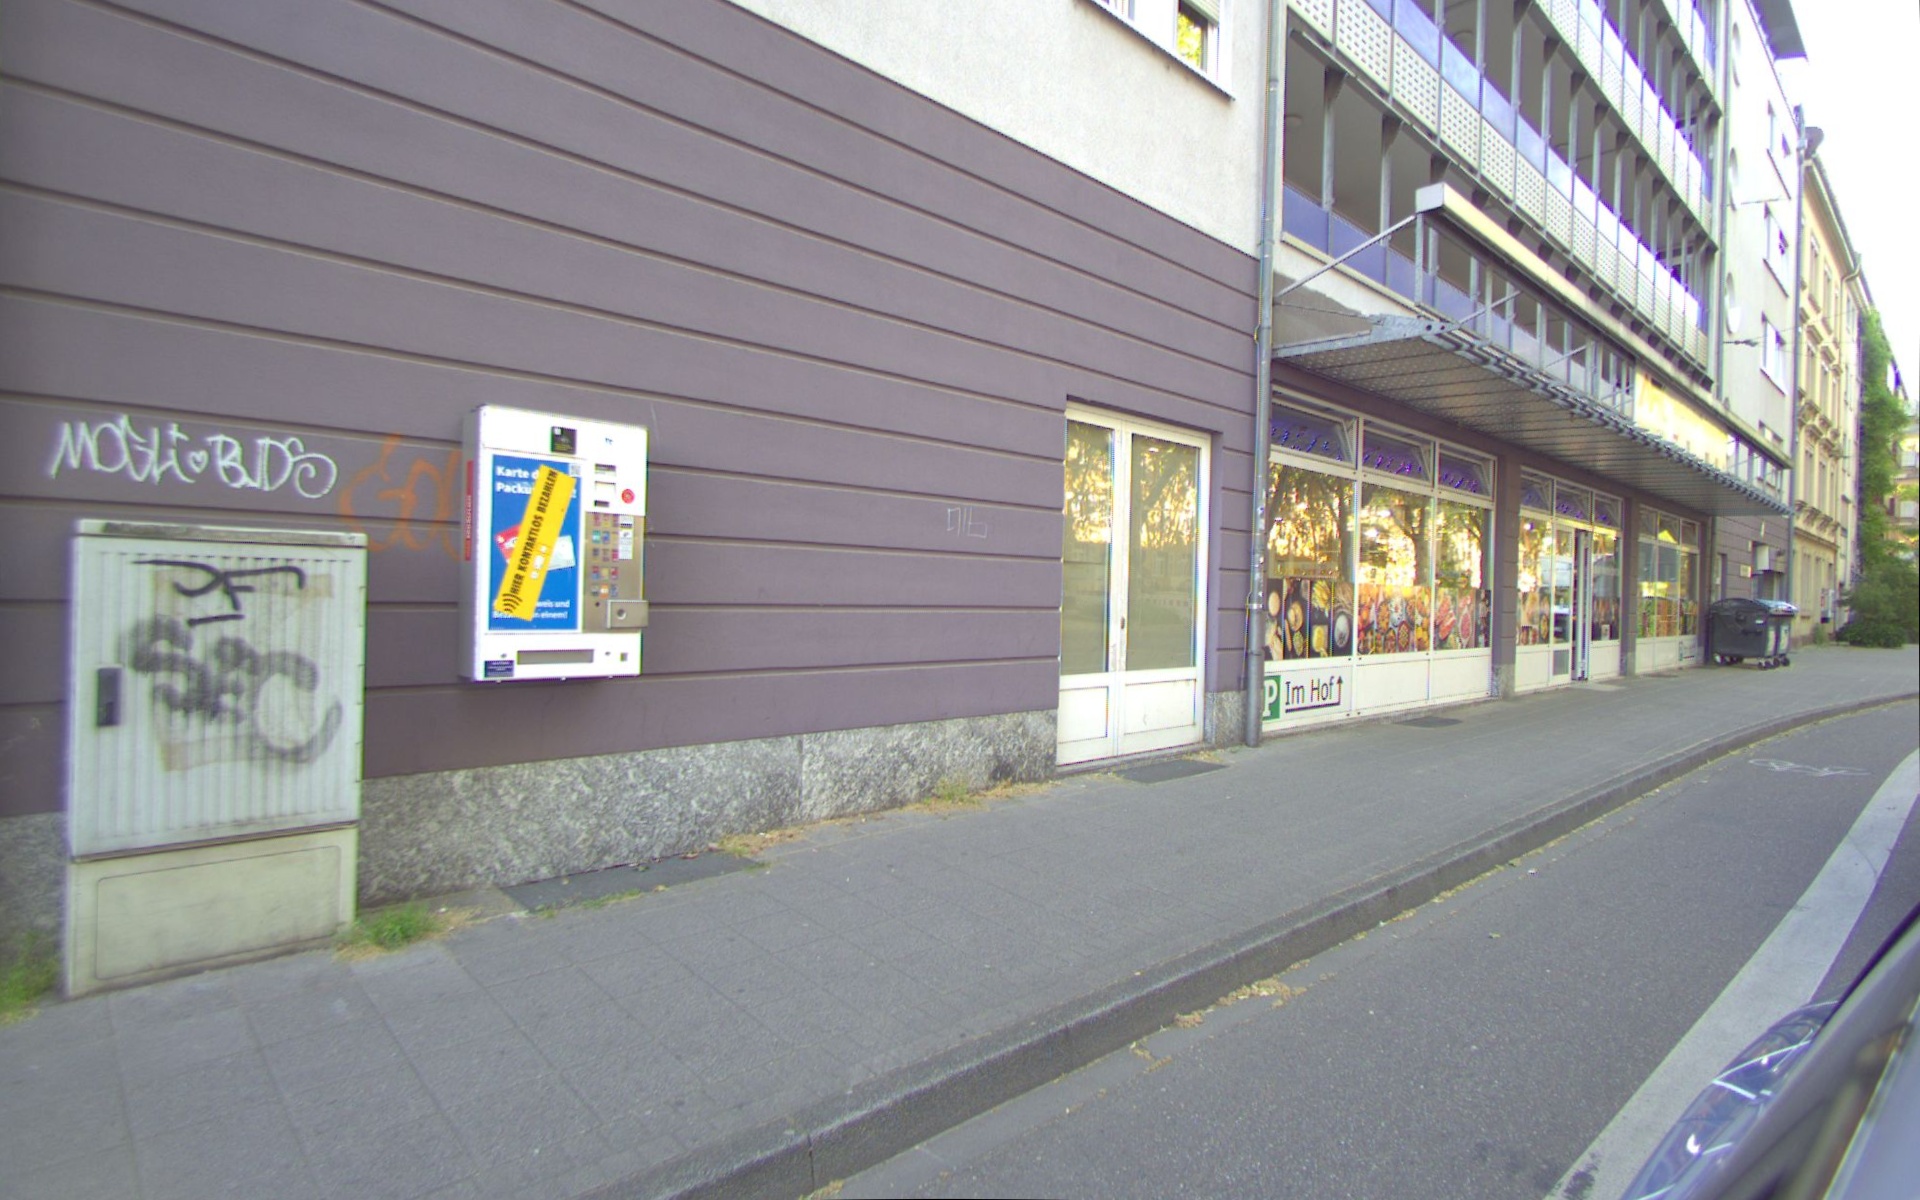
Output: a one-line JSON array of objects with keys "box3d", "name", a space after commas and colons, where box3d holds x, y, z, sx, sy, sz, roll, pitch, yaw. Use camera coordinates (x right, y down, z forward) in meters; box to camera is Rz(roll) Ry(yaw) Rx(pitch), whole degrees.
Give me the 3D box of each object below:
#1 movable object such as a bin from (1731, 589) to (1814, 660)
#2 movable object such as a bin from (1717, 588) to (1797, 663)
[{"box3d": [17.793, 0.515, 22.168, 1.282, 1.464, 1.123, 1, 1, -38], "name": "movable object such as a bin"}, {"box3d": [16.444, 0.495, 20.880, 1.274, 1.465, 1.068, 1, 1, -42], "name": "movable object such as a bin"}]
